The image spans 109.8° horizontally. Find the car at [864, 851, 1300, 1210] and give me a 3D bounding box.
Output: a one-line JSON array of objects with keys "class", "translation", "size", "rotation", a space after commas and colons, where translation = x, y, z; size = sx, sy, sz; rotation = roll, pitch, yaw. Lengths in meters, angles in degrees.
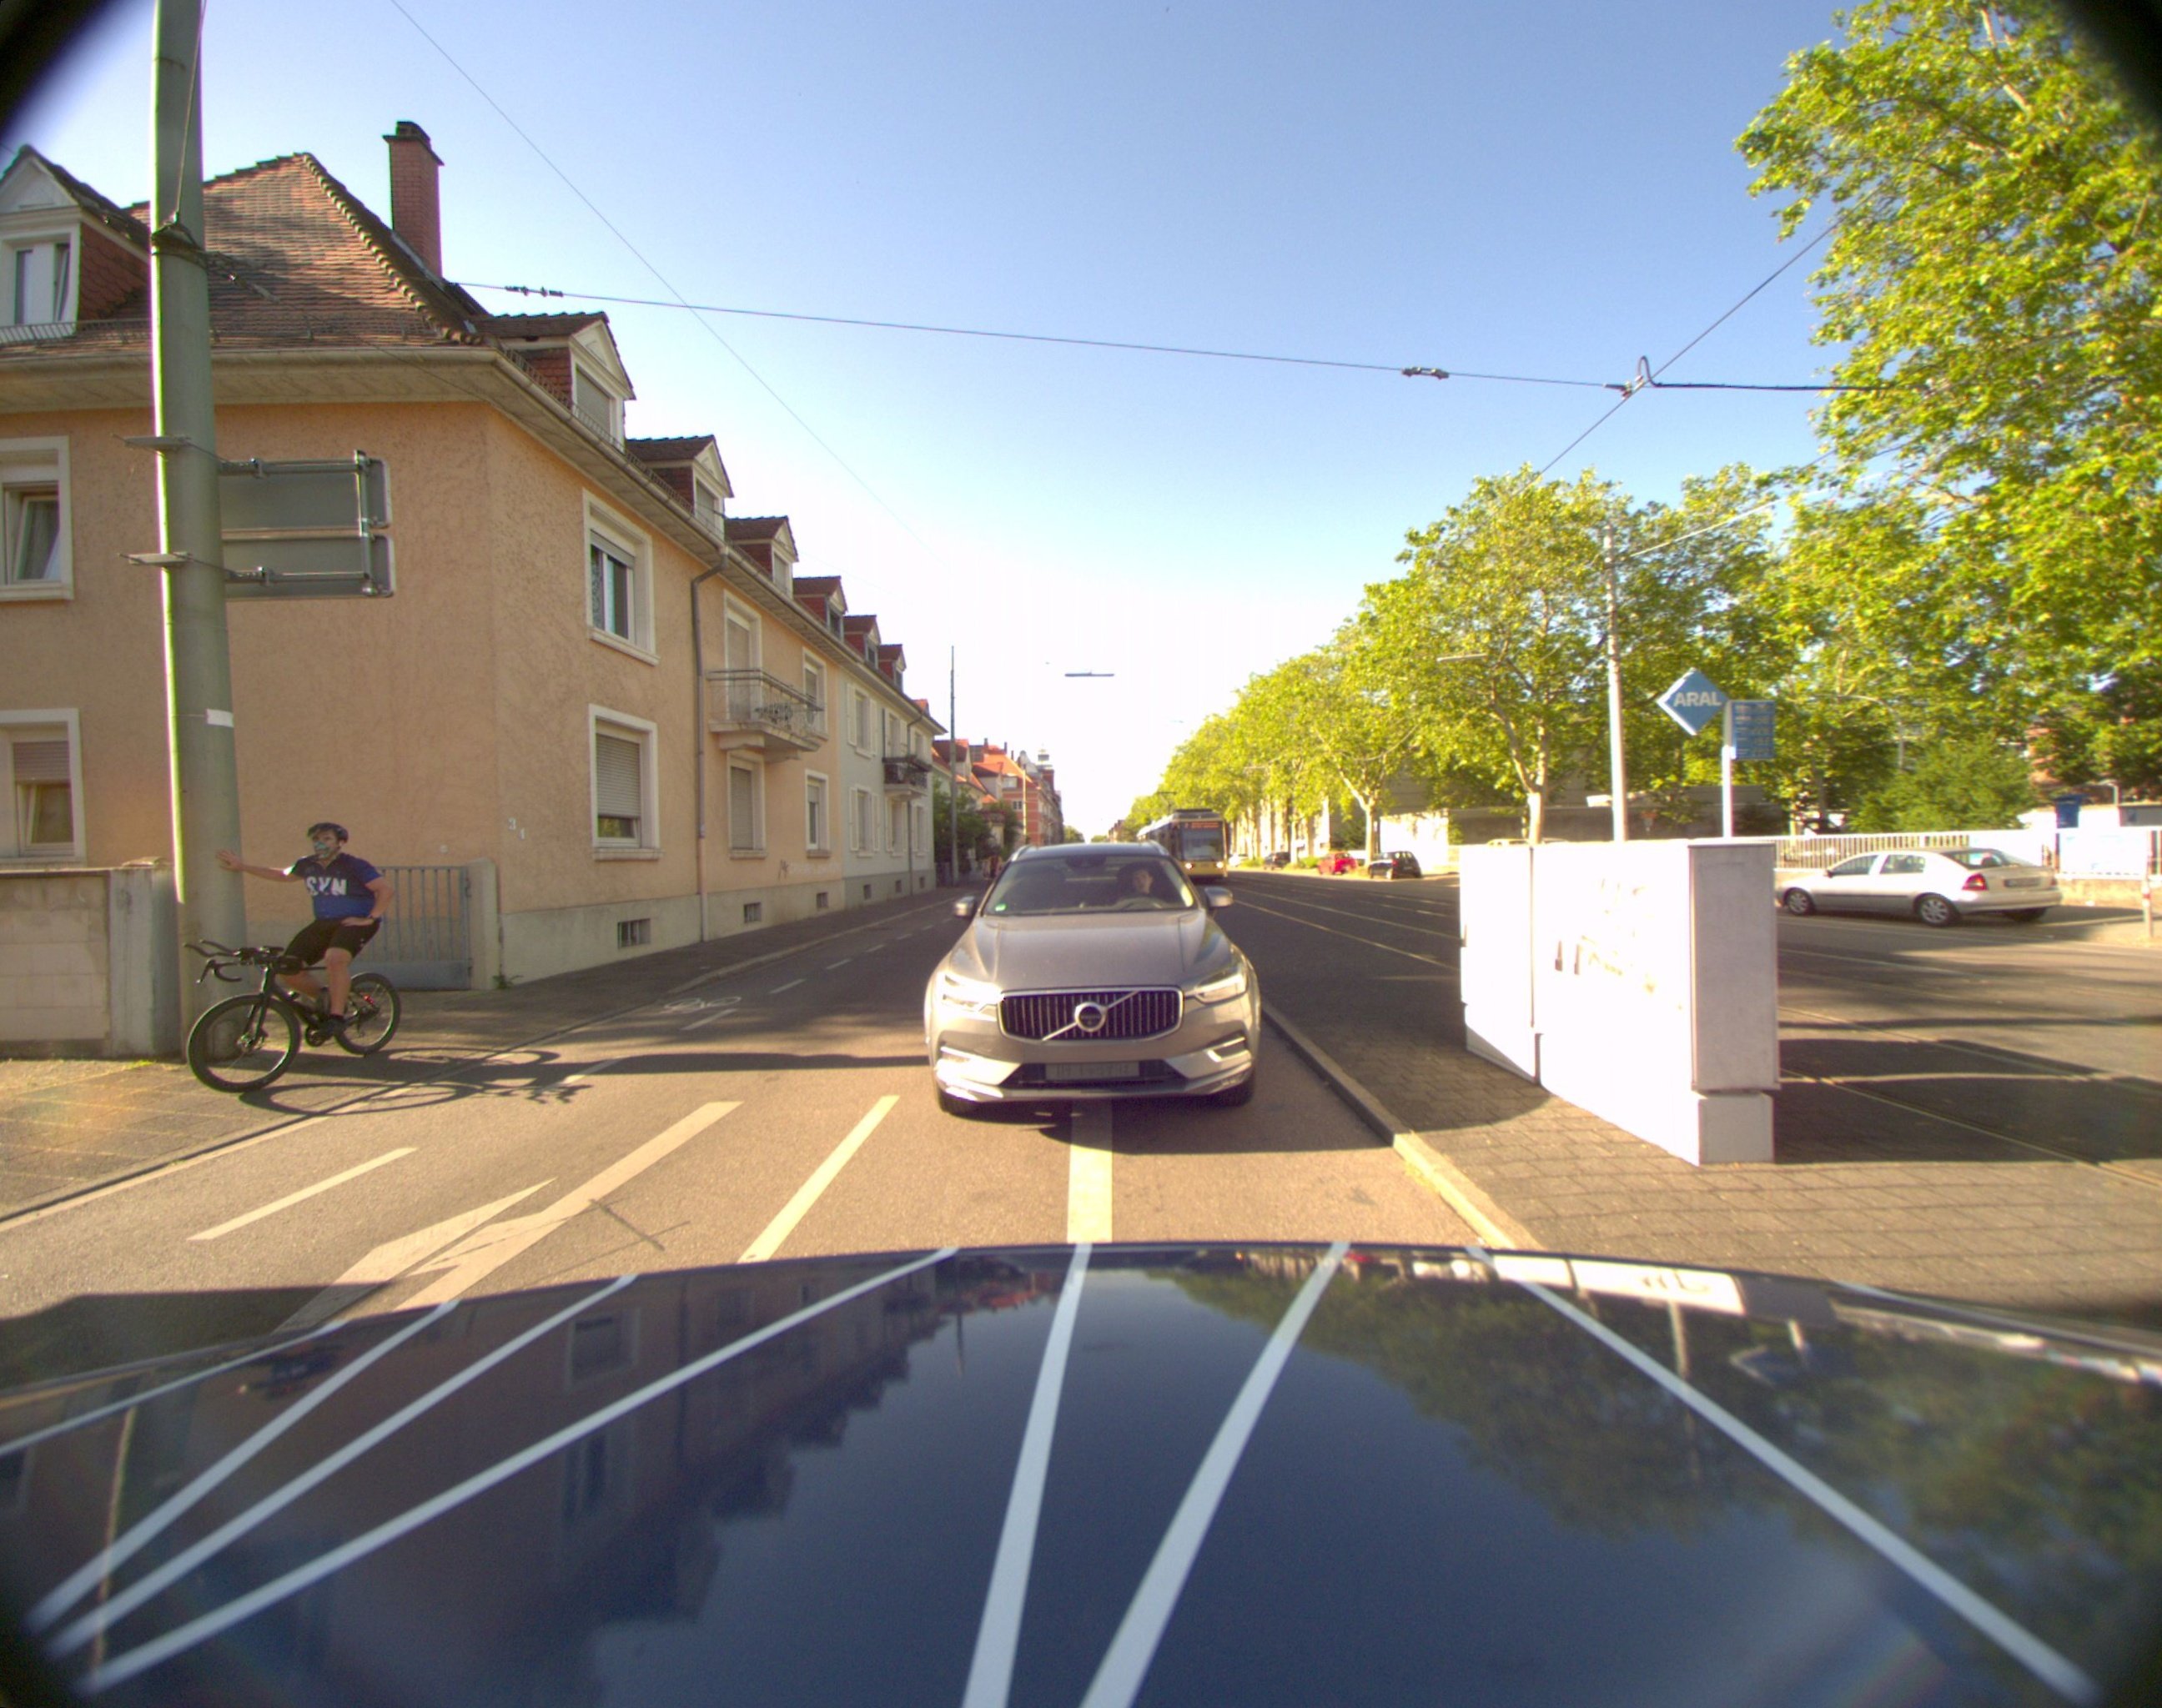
[{"class": "car", "translation": [0.033, 0.829, 5.750], "size": [1.998, 1.628, 4.306], "rotation": [-2, 0, 1]}]

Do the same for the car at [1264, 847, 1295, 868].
[{"class": "car", "translation": [17.143, 0.282, 65.885], "size": [1.695, 1.648, 3.749], "rotation": [-3, 0, 1]}]

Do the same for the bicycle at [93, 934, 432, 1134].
[{"class": "bicycle", "translation": [-6.023, 1.251, 5.773], "size": [0.592, 1.062, 1.775], "rotation": [4, 0, 1]}]

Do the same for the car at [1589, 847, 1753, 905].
[{"class": "car", "translation": [16.415, 0.563, 21.412], "size": [1.695, 1.395, 3.749], "rotation": [-3, 0, 1]}]

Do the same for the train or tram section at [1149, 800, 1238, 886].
[{"class": "train or tram section", "translation": [5.423, -0.507, 39.154], "size": [2.717, 3.643, 12.653], "rotation": [-1, 0, 0]}]

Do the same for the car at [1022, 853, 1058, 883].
[{"class": "car", "translation": [-2.580, 0.861, 48.481], "size": [1.793, 1.673, 3.814], "rotation": [-3, 0, 2]}]

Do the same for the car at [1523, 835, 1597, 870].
[{"class": "car", "translation": [23.884, -0.077, 38.021], "size": [1.599, 1.583, 3.304], "rotation": [-2, 0, 1]}]

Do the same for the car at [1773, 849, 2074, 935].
[{"class": "car", "translation": [16.229, 0.643, 14.977], "size": [1.695, 1.395, 3.813], "rotation": [-3, 0, 1]}]

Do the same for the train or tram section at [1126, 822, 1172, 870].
[{"class": "train or tram section", "translation": [5.595, -0.625, 64.458], "size": [2.717, 3.643, 12.653], "rotation": [-1, 0, 0]}]

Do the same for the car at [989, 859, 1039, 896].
[{"class": "car", "translation": [-3.219, 1.090, 37.043], "size": [1.695, 1.571, 3.815], "rotation": [-3, 0, 5]}]

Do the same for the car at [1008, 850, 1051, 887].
[{"class": "car", "translation": [-2.820, 0.748, 42.816], "size": [1.793, 1.828, 5.149], "rotation": [-3, 0, 2]}]

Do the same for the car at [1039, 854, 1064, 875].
[{"class": "car", "translation": [-2.546, 0.869, 67.071], "size": [1.793, 1.673, 3.814], "rotation": [-3, 0, 2]}]

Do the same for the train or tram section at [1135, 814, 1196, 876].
[{"class": "train or tram section", "translation": [5.515, -0.557, 51.805], "size": [2.717, 3.643, 12.653], "rotation": [-1, 0, 0]}]

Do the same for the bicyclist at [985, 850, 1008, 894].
[{"class": "bicyclist", "translation": [-3.185, 0.660, 28.692], "size": [0.685, 1.611, 0.855], "rotation": [-2, 1, 1]}]

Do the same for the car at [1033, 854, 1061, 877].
[{"class": "car", "translation": [-2.715, 0.894, 61.027], "size": [1.793, 1.673, 3.814], "rotation": [-3, 0, 2]}]

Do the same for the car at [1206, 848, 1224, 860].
[{"class": "car", "translation": [17.800, 0.038, 100.710], "size": [1.695, 1.440, 3.749], "rotation": [-3, 0, 1]}]

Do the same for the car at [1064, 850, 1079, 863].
[{"class": "car", "translation": [-1.286, 0.378, 107.099], "size": [1.793, 1.673, 3.814], "rotation": [-3, 0, 2]}]

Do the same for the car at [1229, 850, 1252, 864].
[{"class": "car", "translation": [17.469, 0.302, 83.539], "size": [1.695, 1.440, 3.749], "rotation": [-3, 0, 1]}]

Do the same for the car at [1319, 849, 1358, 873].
[{"class": "car", "translation": [16.882, 0.441, 49.862], "size": [1.599, 1.498, 2.622], "rotation": [-3, 0, 1]}]

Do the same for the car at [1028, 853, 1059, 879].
[{"class": "car", "translation": [-2.627, 0.843, 54.002], "size": [1.793, 1.673, 3.814], "rotation": [-3, 0, 2]}]

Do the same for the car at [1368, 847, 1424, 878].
[{"class": "car", "translation": [16.889, 0.432, 40.891], "size": [1.599, 1.498, 3.304], "rotation": [-3, 0, 1]}]

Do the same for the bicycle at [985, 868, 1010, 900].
[{"class": "bicycle", "translation": [-3.166, 1.136, 28.803], "size": [0.685, 1.098, 1.806], "rotation": [-2, 1, 1]}]

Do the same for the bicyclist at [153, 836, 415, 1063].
[{"class": "bicyclist", "translation": [-6.218, 0.698, 5.999], "size": [1.051, 1.599, 0.885], "rotation": [4, 0, 1]}]

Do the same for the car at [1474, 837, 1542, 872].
[{"class": "car", "translation": [21.550, 0.019, 38.469], "size": [1.599, 1.606, 3.304], "rotation": [-2, 0, 1]}]

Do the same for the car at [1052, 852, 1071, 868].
[{"class": "car", "translation": [-2.145, 0.646, 85.366], "size": [1.793, 1.673, 3.814], "rotation": [-3, 0, 2]}]
